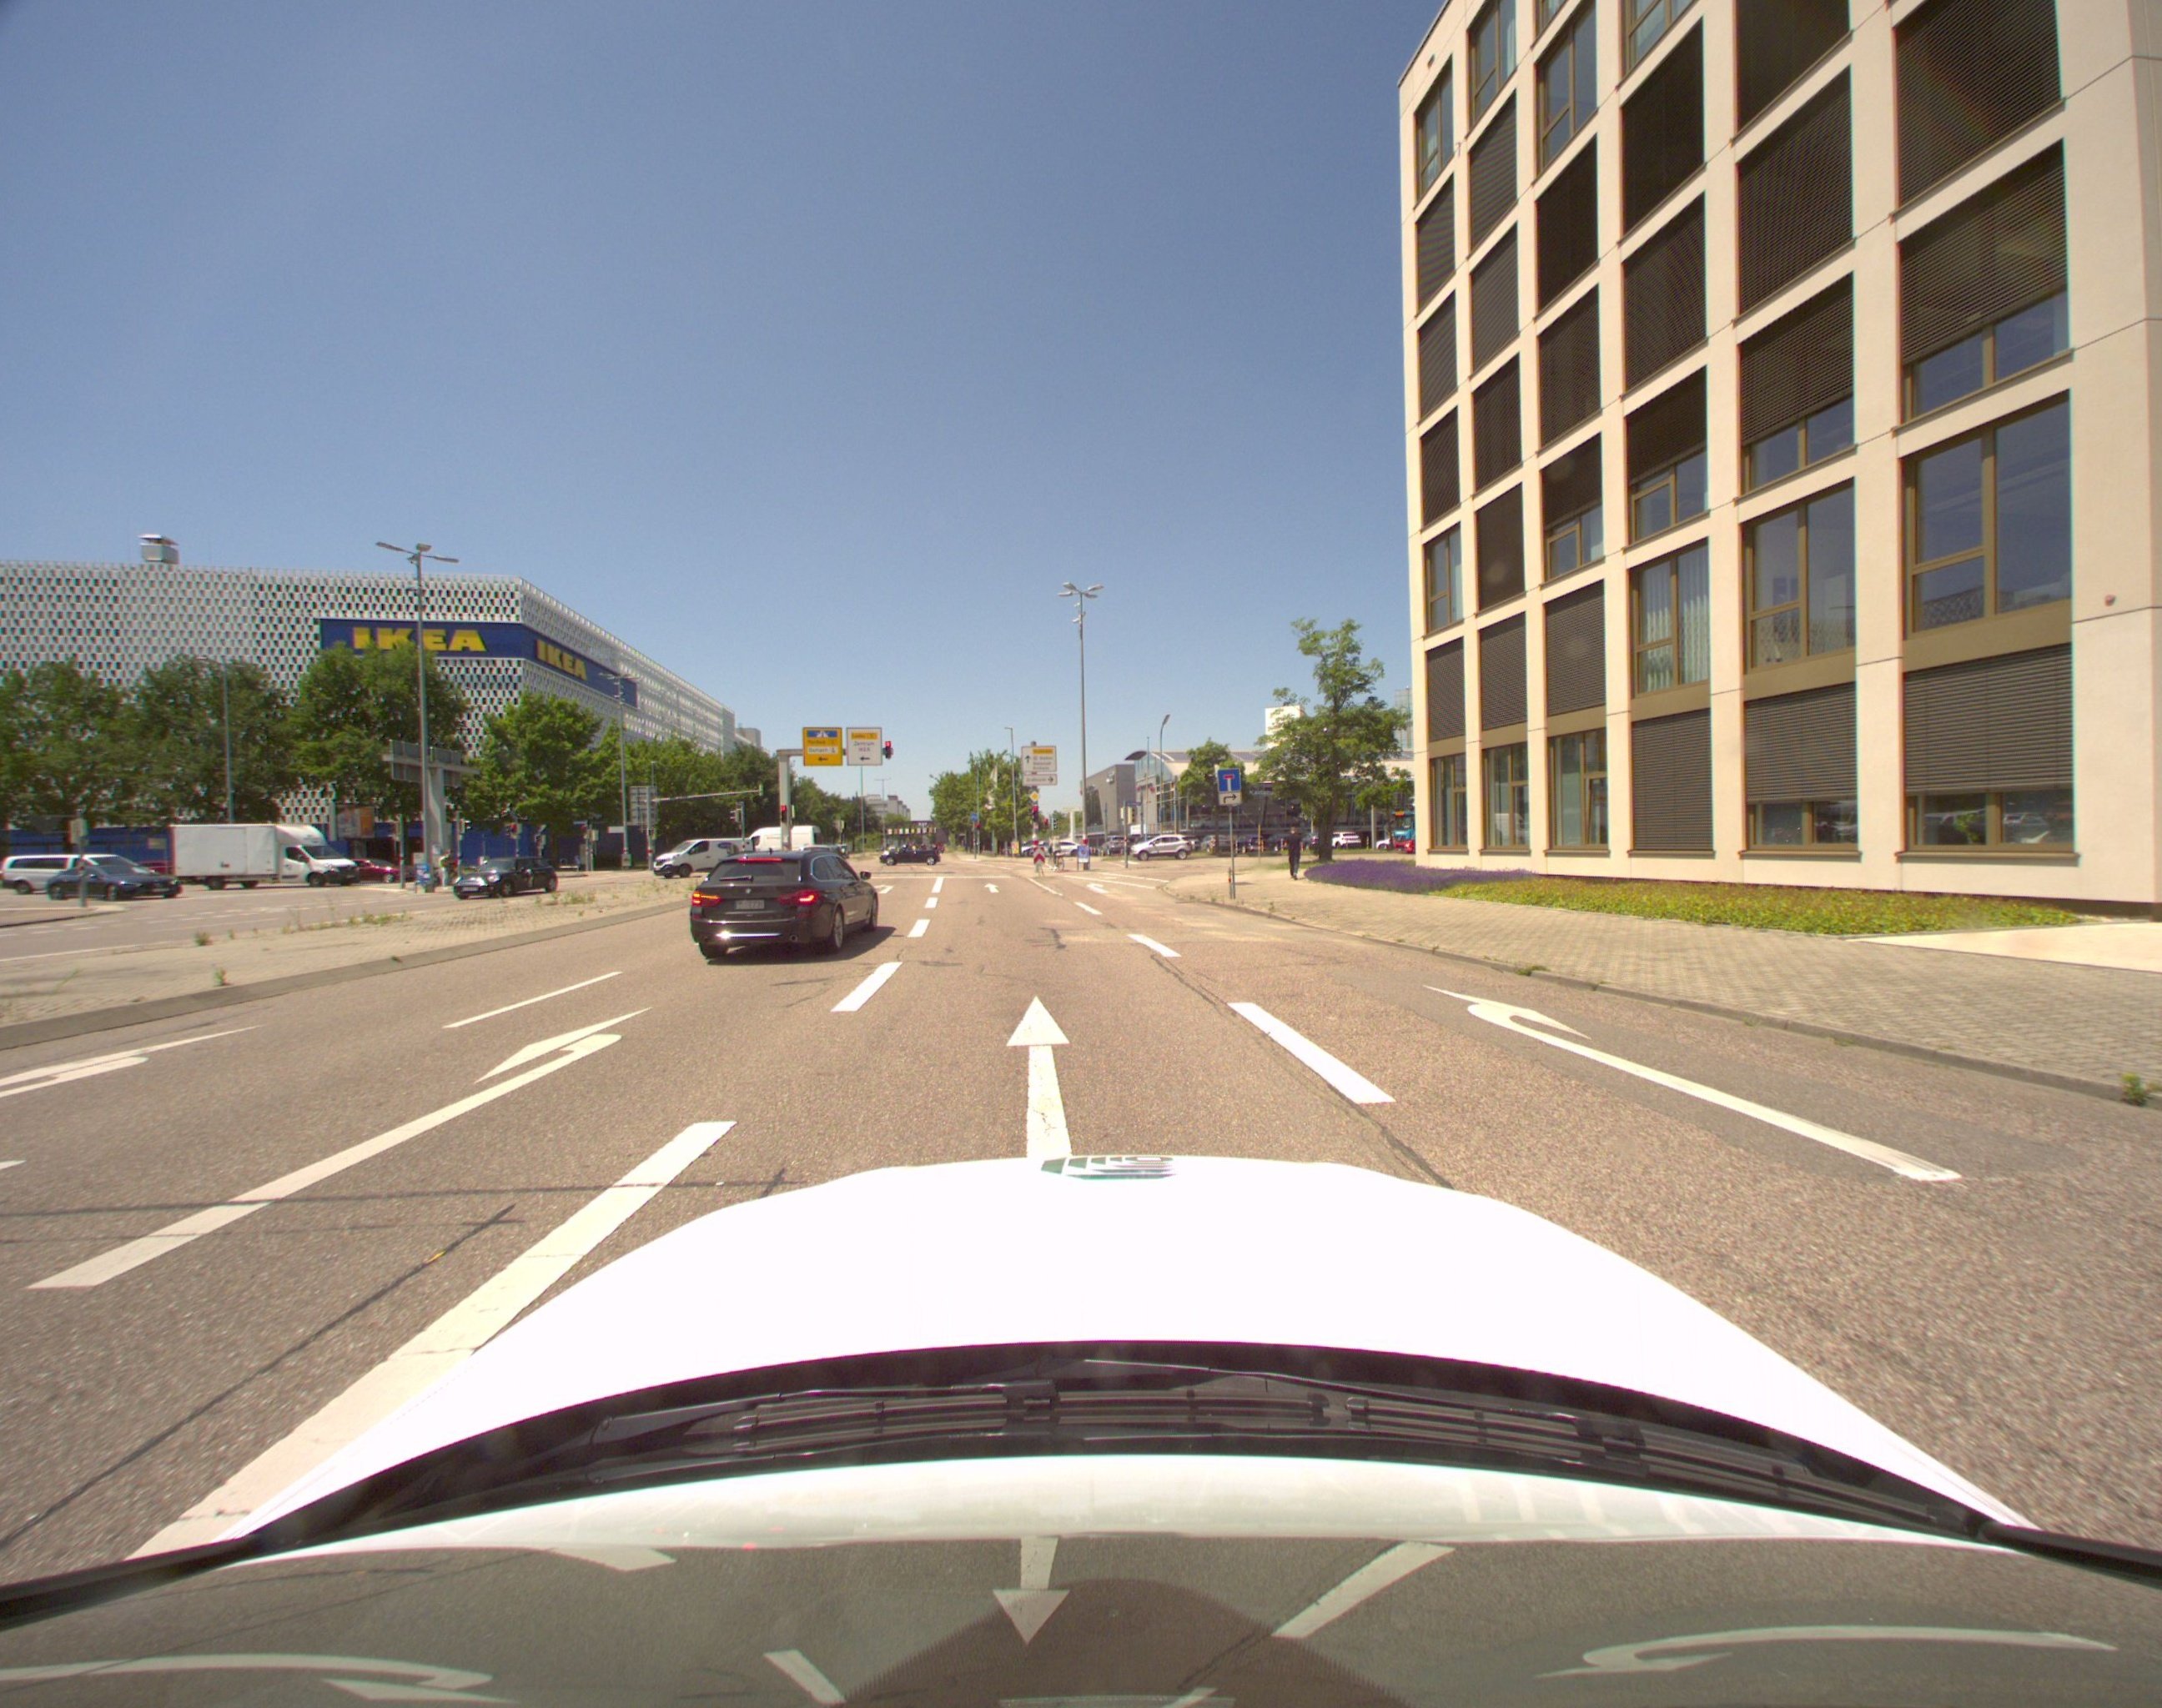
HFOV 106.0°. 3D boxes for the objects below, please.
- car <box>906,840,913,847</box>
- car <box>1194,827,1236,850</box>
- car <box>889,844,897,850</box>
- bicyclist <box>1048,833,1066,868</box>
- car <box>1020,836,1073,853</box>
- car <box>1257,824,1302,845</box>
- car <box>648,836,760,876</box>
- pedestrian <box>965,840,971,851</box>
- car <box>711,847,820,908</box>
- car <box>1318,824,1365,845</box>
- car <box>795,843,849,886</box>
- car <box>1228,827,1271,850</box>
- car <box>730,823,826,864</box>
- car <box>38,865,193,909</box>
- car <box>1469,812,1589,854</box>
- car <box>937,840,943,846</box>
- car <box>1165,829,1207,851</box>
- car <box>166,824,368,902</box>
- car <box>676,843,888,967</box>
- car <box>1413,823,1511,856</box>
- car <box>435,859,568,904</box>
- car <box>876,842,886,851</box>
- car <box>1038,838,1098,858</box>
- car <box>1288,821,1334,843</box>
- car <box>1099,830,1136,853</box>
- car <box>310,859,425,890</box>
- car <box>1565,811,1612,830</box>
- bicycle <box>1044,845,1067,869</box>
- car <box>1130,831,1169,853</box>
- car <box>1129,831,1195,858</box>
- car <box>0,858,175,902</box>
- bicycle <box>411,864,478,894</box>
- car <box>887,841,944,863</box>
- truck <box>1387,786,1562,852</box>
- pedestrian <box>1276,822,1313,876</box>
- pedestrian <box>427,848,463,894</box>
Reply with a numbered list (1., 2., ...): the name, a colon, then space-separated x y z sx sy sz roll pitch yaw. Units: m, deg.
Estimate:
1. car: -48.568 -2.961 230.283 1.772 1.727 3.987 -3 1 -10
2. car: 10.647 -1.271 65.008 1.885 1.639 4.510 -3 2 -10
3. car: -54.923 -2.019 238.211 1.925 1.665 4.079 -3 1 -7
4. bicyclist: -1.208 -0.187 41.307 0.734 1.749 0.750 -1 2 -14
5. car: -3.265 -0.920 77.502 4.745 1.456 1.992 -2 2 -12
6. car: 16.000 -1.588 65.983 1.828 1.639 4.458 -2 2 -11
7. car: -19.401 0.045 42.086 1.813 1.850 4.871 0 2 41
8. pedestrian: -15.338 -1.151 110.380 0.668 1.510 0.733 -2 1 -10
9. car: -8.608 0.562 22.624 1.747 1.390 4.521 -2 1 -8
10. car: 21.342 -1.617 66.977 1.828 1.639 4.460 -3 2 -10
11. car: -9.898 0.355 31.366 1.801 1.494 3.979 -1 1 -15
12. car: 13.502 -1.272 65.413 1.828 1.639 4.460 -3 2 -10
13. car: -19.844 -0.691 53.473 5.471 2.566 2.000 -1 1 0
14. car: -39.919 1.351 33.748 3.975 1.508 1.933 -2 1 -1
15. car: 21.728 -0.991 39.608 4.843 1.815 1.716 -2 1 38
16. car: -43.243 -3.235 249.393 1.772 1.727 3.987 -3 1 -10
17. car: 8.296 -1.122 64.638 1.994 1.639 4.426 -3 2 -10
18. car: -40.325 0.368 40.556 6.901 3.485 2.177 -2 3 -9
19. car: -4.360 0.624 12.716 1.796 1.465 4.618 -1 2 -4
20. car: 18.179 -0.686 38.918 3.948 1.435 1.621 -2 1 40
21. car: -20.952 0.940 29.682 1.848 1.302 3.897 -3 2 3
22. car: -52.925 -1.963 215.407 1.991 2.014 3.991 -2 -1 -6
23. car: -1.066 -0.496 67.172 4.739 1.456 1.995 -2 2 -8
24. car: 18.727 -1.802 66.523 1.828 1.639 4.460 -3 2 -10
25. car: 2.806 -0.990 63.338 1.994 1.639 4.254 -2 2 -10
26. car: -38.170 1.069 43.668 4.281 1.342 1.771 -2 2 -9
27. car: 50.638 -3.357 81.324 1.733 1.786 3.987 -2 1 -10
28. bicycle: -1.295 0.142 41.528 0.787 1.127 1.912 -1 2 -13
29. car: 5.352 -0.978 64.215 1.994 1.639 4.543 -2 2 -10
30. car: 5.275 -0.628 53.533 4.181 1.651 1.715 -2 1 0
31. car: -48.347 1.242 39.742 5.447 1.811 1.996 -2 1 -6
32. bicycle: -28.405 1.099 36.398 2.097 1.212 0.991 -2 1 -16
33. car: -10.466 -0.145 51.616 3.363 1.357 1.620 -1 1 -6
34. truck: 26.459 -2.330 54.946 10.608 4.082 3.093 -2 1 -7
35. pedestrian: 7.458 -0.175 28.453 0.872 1.844 0.765 -4 1 -37
36. pedestrian: -28.439 0.742 36.420 0.906 2.013 0.860 -3 2 -16
